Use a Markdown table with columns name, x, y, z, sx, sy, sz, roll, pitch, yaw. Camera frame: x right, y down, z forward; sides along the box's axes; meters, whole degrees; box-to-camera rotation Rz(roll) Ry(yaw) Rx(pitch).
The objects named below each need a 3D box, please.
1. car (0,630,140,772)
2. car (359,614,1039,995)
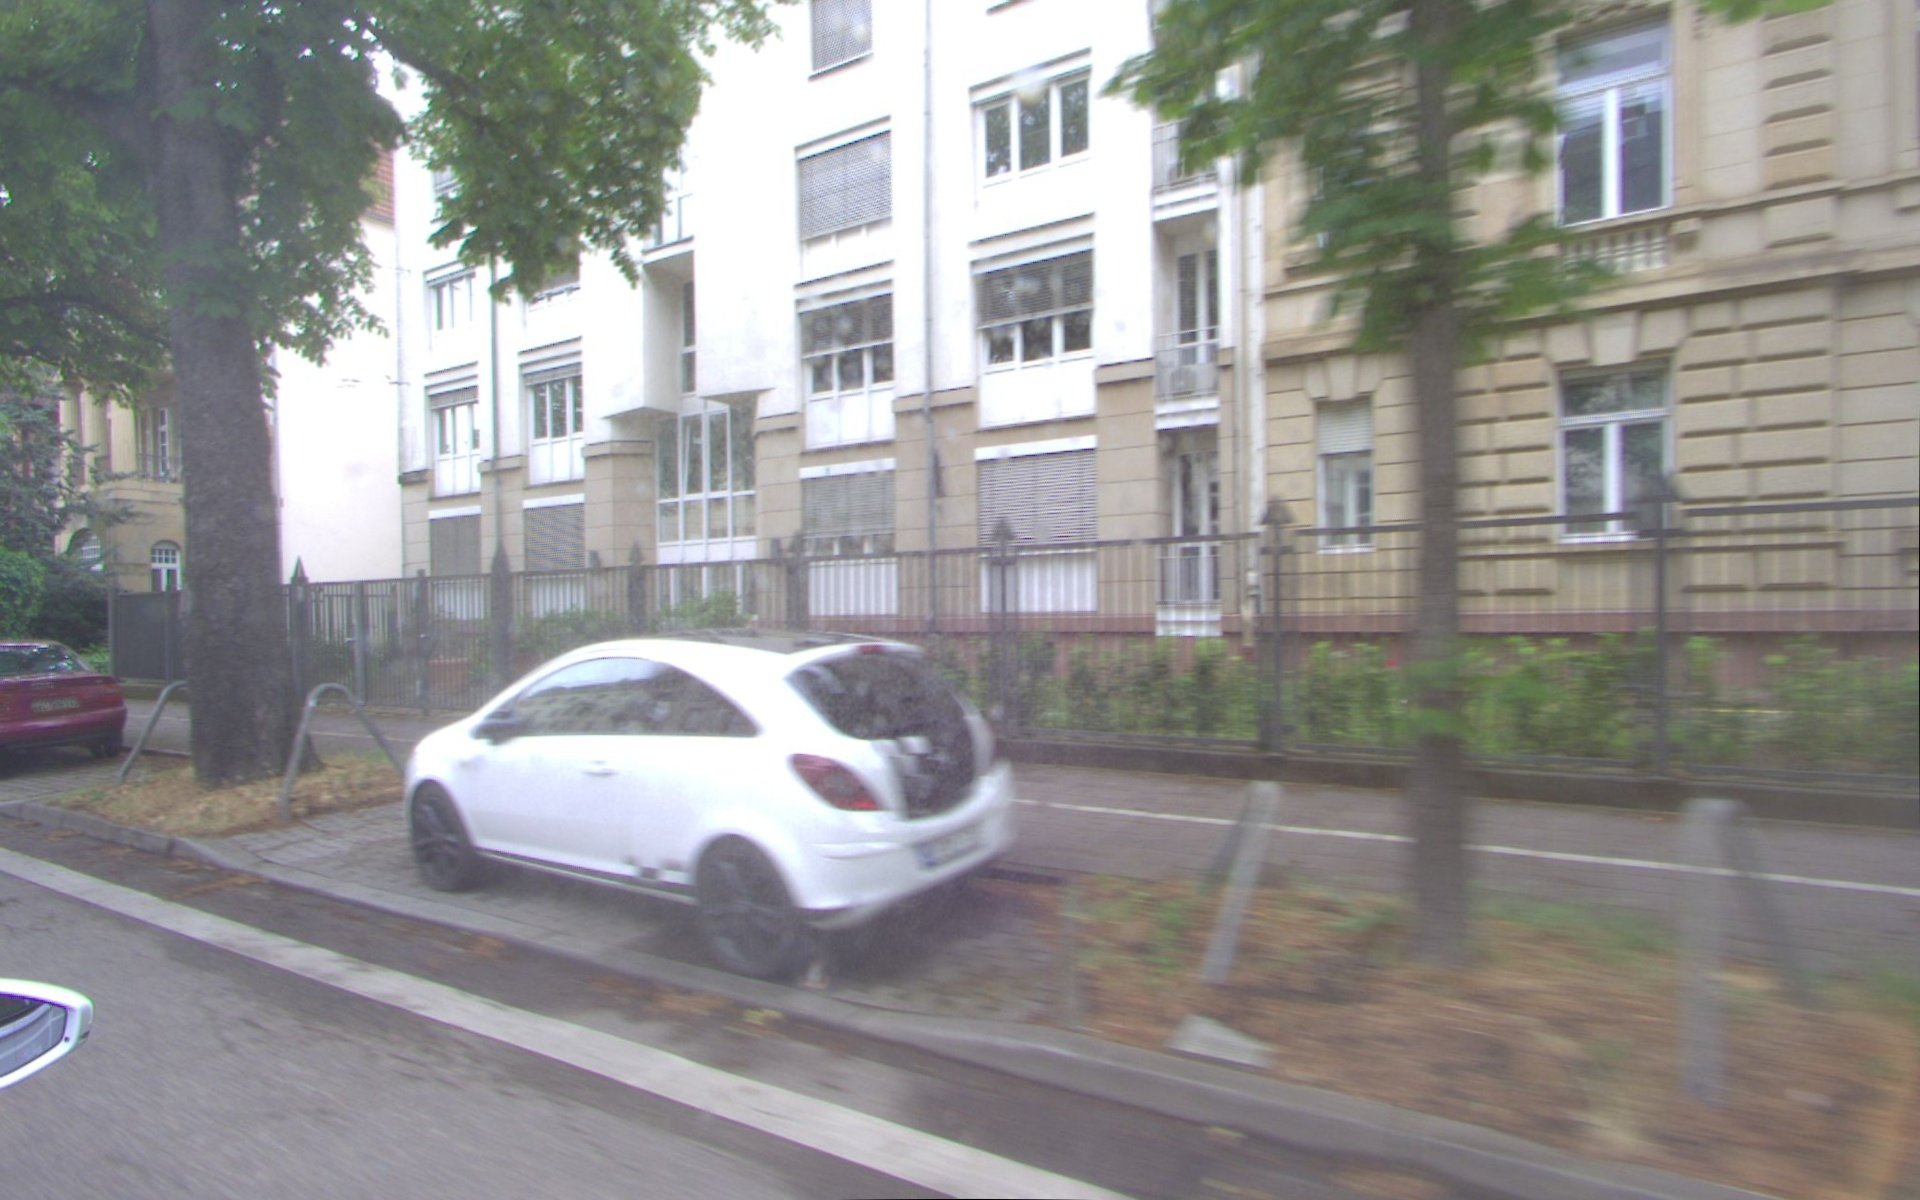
| name | x | y | z | sx | sy | sz | roll | pitch | yaw |
| --- | --- | --- | --- | --- | --- | --- | --- | --- | --- |
| car | -11.532 | 1.106 | 11.829 | 4.167 | 1.418 | 1.598 | -1 | 1 | 32 |
| car | -1.583 | 0.851 | 5.648 | 3.724 | 1.455 | 1.598 | -1 | 1 | 33 |
